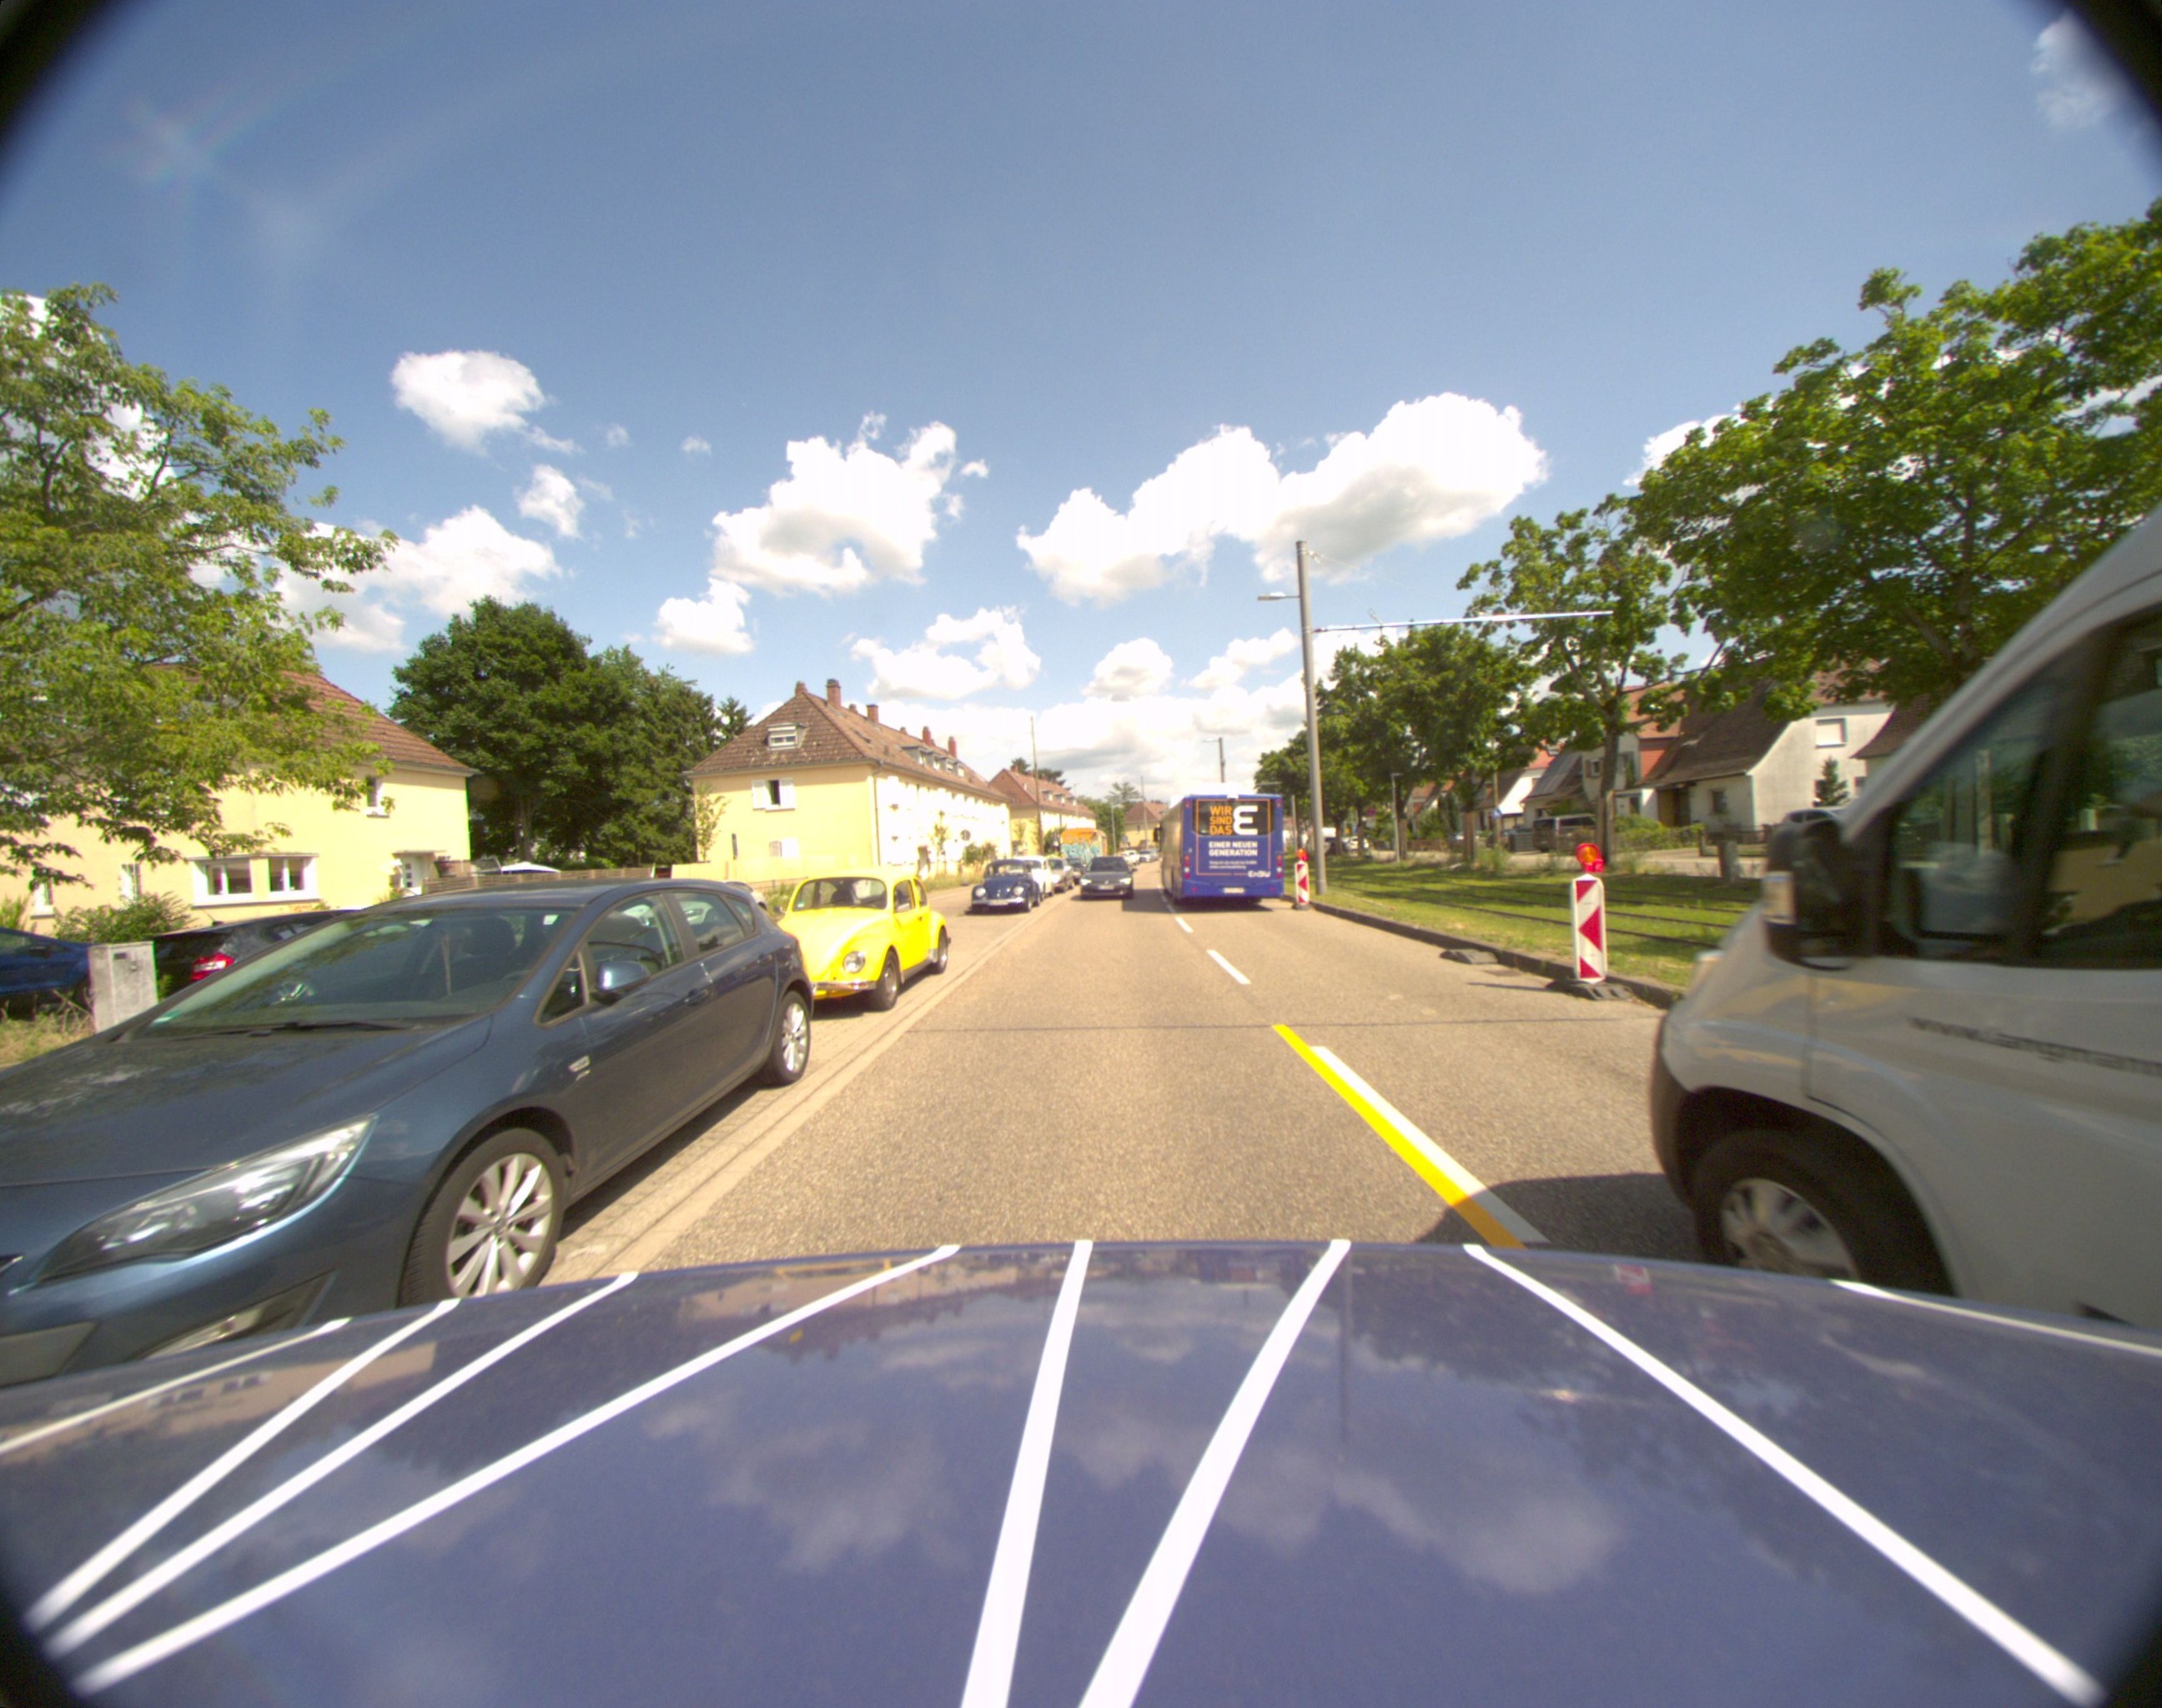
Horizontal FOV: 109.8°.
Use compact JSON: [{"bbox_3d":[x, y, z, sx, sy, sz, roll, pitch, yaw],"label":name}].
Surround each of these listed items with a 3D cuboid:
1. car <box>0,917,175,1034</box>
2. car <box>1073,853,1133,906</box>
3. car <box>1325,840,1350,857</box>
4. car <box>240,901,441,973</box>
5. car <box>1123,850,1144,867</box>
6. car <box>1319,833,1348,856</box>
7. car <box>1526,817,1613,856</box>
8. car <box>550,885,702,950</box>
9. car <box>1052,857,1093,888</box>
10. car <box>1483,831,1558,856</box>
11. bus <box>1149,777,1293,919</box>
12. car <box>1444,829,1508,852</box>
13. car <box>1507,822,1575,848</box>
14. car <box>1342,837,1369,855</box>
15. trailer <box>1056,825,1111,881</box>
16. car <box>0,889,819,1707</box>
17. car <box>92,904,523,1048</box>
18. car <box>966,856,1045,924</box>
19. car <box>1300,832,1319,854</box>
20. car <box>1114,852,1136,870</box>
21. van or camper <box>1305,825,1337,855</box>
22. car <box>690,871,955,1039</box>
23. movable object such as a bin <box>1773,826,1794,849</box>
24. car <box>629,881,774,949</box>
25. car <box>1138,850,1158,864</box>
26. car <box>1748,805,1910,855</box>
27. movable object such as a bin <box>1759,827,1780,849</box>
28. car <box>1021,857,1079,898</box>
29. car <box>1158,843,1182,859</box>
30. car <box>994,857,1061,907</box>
[{"bbox_3d":[-16.767,1.885,11.255,1.640,1.538,4.089,0,0,4],"label":"car"},{"bbox_3d":[0.826,0.795,25.814,1.742,1.513,4.702,-1,1,5],"label":"car"},{"bbox_3d":[22.937,-0.492,68.118,1.855,1.379,4.813,-3,0,16],"label":"car"},{"bbox_3d":[-19.464,2.108,20.271,1.641,1.366,4.085,-5,0,-8],"label":"car"},{"bbox_3d":[5.229,0.432,75.863,1.530,1.472,3.812,-2,1,12],"label":"car"},{"bbox_3d":[24.477,-0.943,73.845,1.997,2.002,4.908,-3,0,12],"label":"car"},{"bbox_3d":[27.933,-1.003,43.501,3.897,1.886,1.941,-5,1,-13],"label":"car"},{"bbox_3d":[-12.459,1.686,21.148,1.640,1.366,4.088,-3,0,1],"label":"car"},{"bbox_3d":[-0.399,0.917,39.556,1.581,1.441,4.455,-3,0,5],"label":"car"},{"bbox_3d":[29.137,-0.705,50.495,3.891,1.448,1.736,-3,0,6],"label":"car"},{"bbox_3d":[3.945,-0.153,24.582,2.642,3.392,12.249,-2,0,1],"label":"bus"},{"bbox_3d":[30.660,-1.060,59.070,3.995,1.521,1.874,-4,0,6],"label":"car"},{"bbox_3d":[35.443,-1.465,58.606,3.995,1.727,1.799,-4,0,6],"label":"car"},{"bbox_3d":[29.245,-0.834,81.089,1.884,1.758,5.087,-3,0,12],"label":"car"},{"bbox_3d":[0.250,-0.074,47.398,2.695,3.208,5.084,-3,0,6],"label":"trailer"},{"bbox_3d":[-2.786,1.039,3.496,1.640,1.473,4.124,-3,0,0],"label":"car"},{"bbox_3d":[-10.593,1.581,10.936,1.639,1.347,4.090,-3,0,9],"label":"car"},{"bbox_3d":[-2.040,0.923,21.620,1.552,1.631,4.247,-3,0,2],"label":"car"},{"bbox_3d":[30.188,-1.451,100.430,2.156,2.653,4.920,-3,0,14],"label":"car"},{"bbox_3d":[4.050,0.610,69.531,1.466,1.493,4.112,-2,1,10],"label":"car"},{"bbox_3d":[25.454,-1.495,80.748,2.379,2.953,7.301,-3,0,11],"label":"van or camper"},{"bbox_3d":[-2.688,0.973,8.907,1.640,1.473,3.932,0,0,2],"label":"car"},{"bbox_3d":[31.191,-0.719,33.722,0.452,0.971,0.500,-3,1,7],"label":"movable object such as a bin"},{"bbox_3d":[-9.792,1.513,19.985,1.640,1.366,4.088,-3,0,1],"label":"car"},{"bbox_3d":[7.646,0.346,86.499,1.752,1.489,4.389,-2,0,12],"label":"car"},{"bbox_3d":[25.984,-0.779,26.607,1.732,1.509,4.044,-3,0,2],"label":"car"},{"bbox_3d":[30.728,-0.704,33.924,0.452,0.971,0.500,-3,1,7],"label":"movable object such as a bin"},{"bbox_3d":[-1.201,0.914,31.827,1.710,1.441,4.836,-3,0,5],"label":"car"},{"bbox_3d":[12.661,-0.460,107.961,2.279,2.170,6.374,-2,0,16],"label":"car"},{"bbox_3d":[-1.780,0.919,26.759,1.581,1.504,4.461,-3,0,5],"label":"car"}]
